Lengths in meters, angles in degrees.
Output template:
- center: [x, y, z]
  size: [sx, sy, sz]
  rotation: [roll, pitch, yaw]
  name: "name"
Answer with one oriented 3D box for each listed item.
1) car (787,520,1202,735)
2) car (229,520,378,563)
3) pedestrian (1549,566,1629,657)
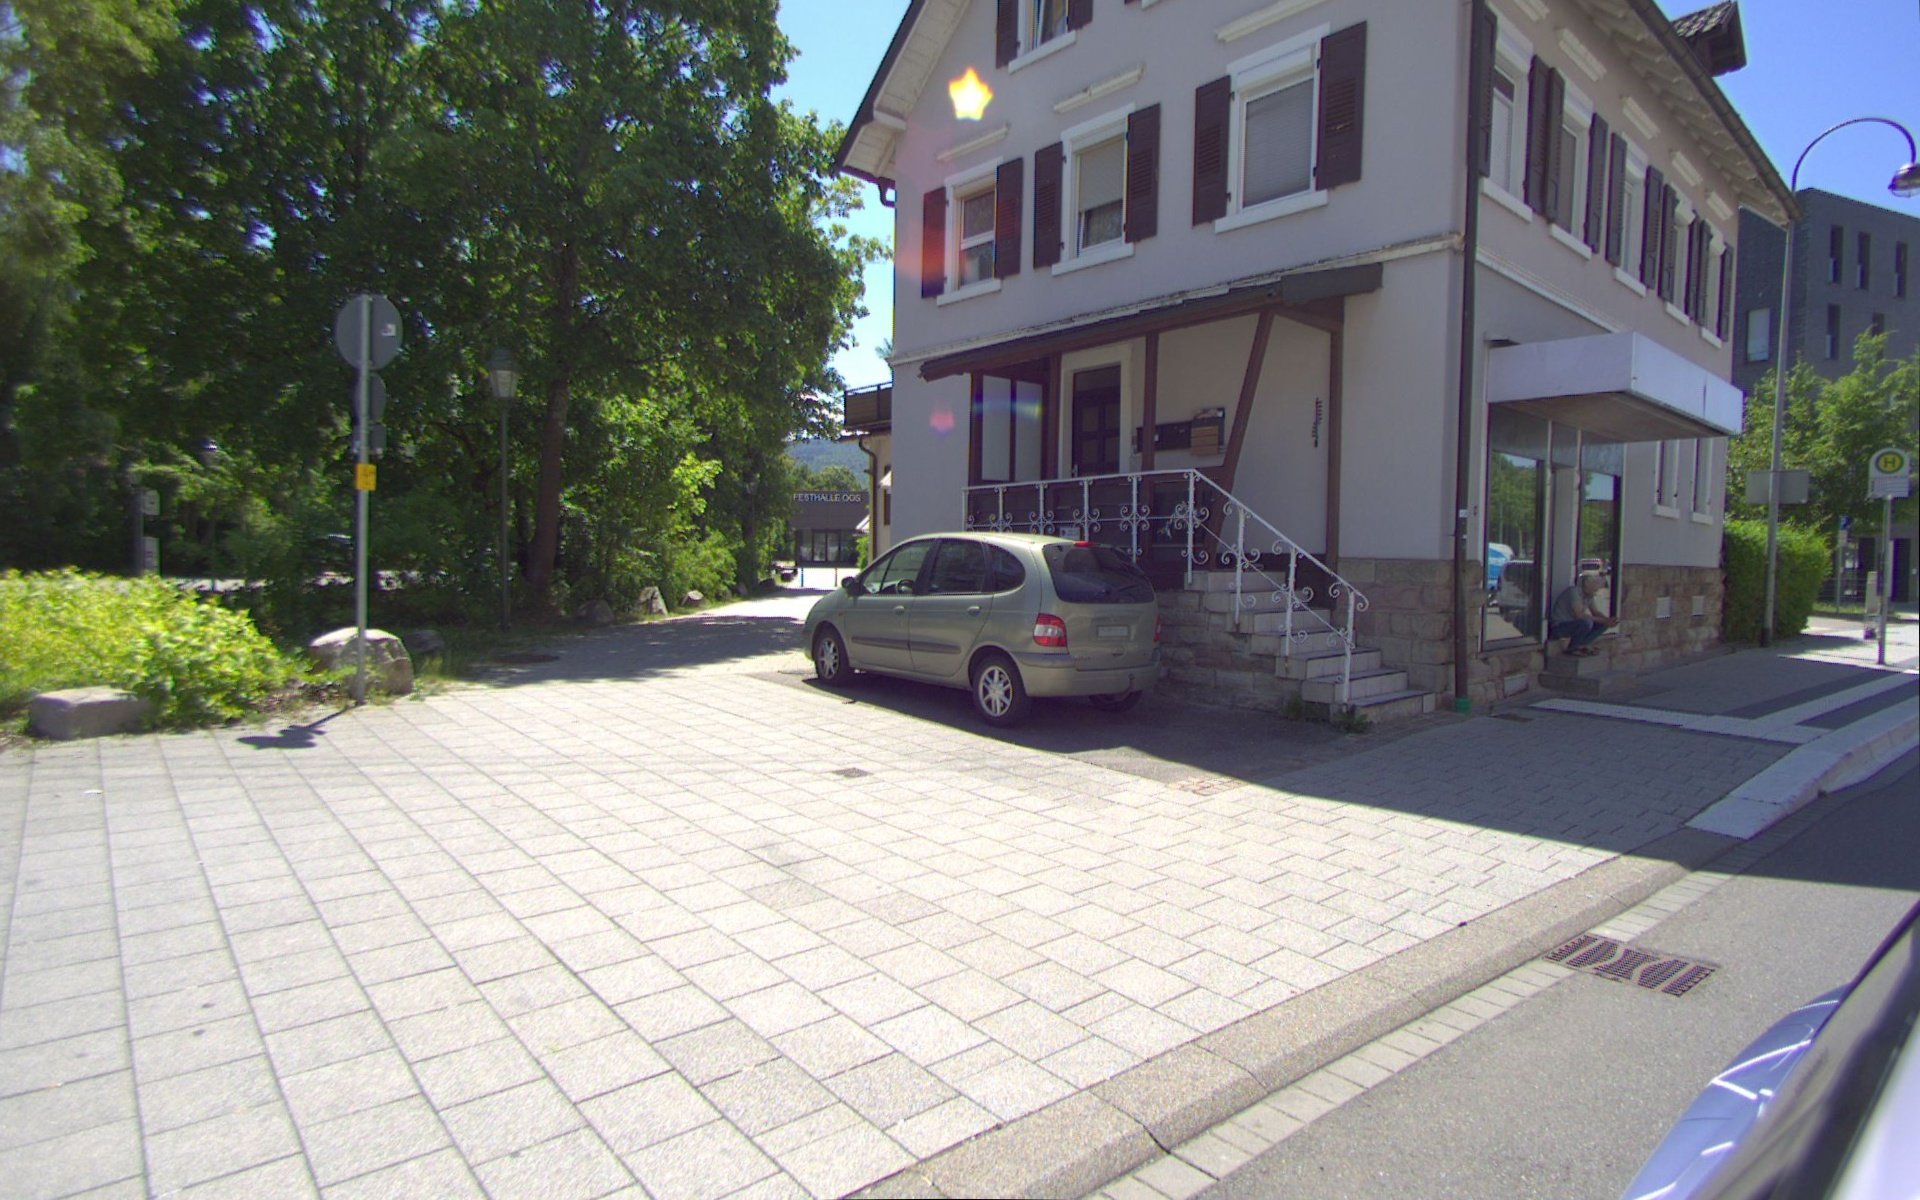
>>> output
- center: [0.127, 0.077, 9.894]
  size: [1.770, 1.614, 4.072]
  rotation: [-1, 5, -40]
  name: "car"
- center: [-36.351, -3.230, 56.243]
  size: [6.623, 2.266, 2.199]
  rotation: [0, 2, -11]
  name: "car"
- center: [7.369, 0.114, 11.859]
  size: [0.712, 1.011, 0.591]
  rotation: [-1, 4, -42]
  name: "pedestrian"
